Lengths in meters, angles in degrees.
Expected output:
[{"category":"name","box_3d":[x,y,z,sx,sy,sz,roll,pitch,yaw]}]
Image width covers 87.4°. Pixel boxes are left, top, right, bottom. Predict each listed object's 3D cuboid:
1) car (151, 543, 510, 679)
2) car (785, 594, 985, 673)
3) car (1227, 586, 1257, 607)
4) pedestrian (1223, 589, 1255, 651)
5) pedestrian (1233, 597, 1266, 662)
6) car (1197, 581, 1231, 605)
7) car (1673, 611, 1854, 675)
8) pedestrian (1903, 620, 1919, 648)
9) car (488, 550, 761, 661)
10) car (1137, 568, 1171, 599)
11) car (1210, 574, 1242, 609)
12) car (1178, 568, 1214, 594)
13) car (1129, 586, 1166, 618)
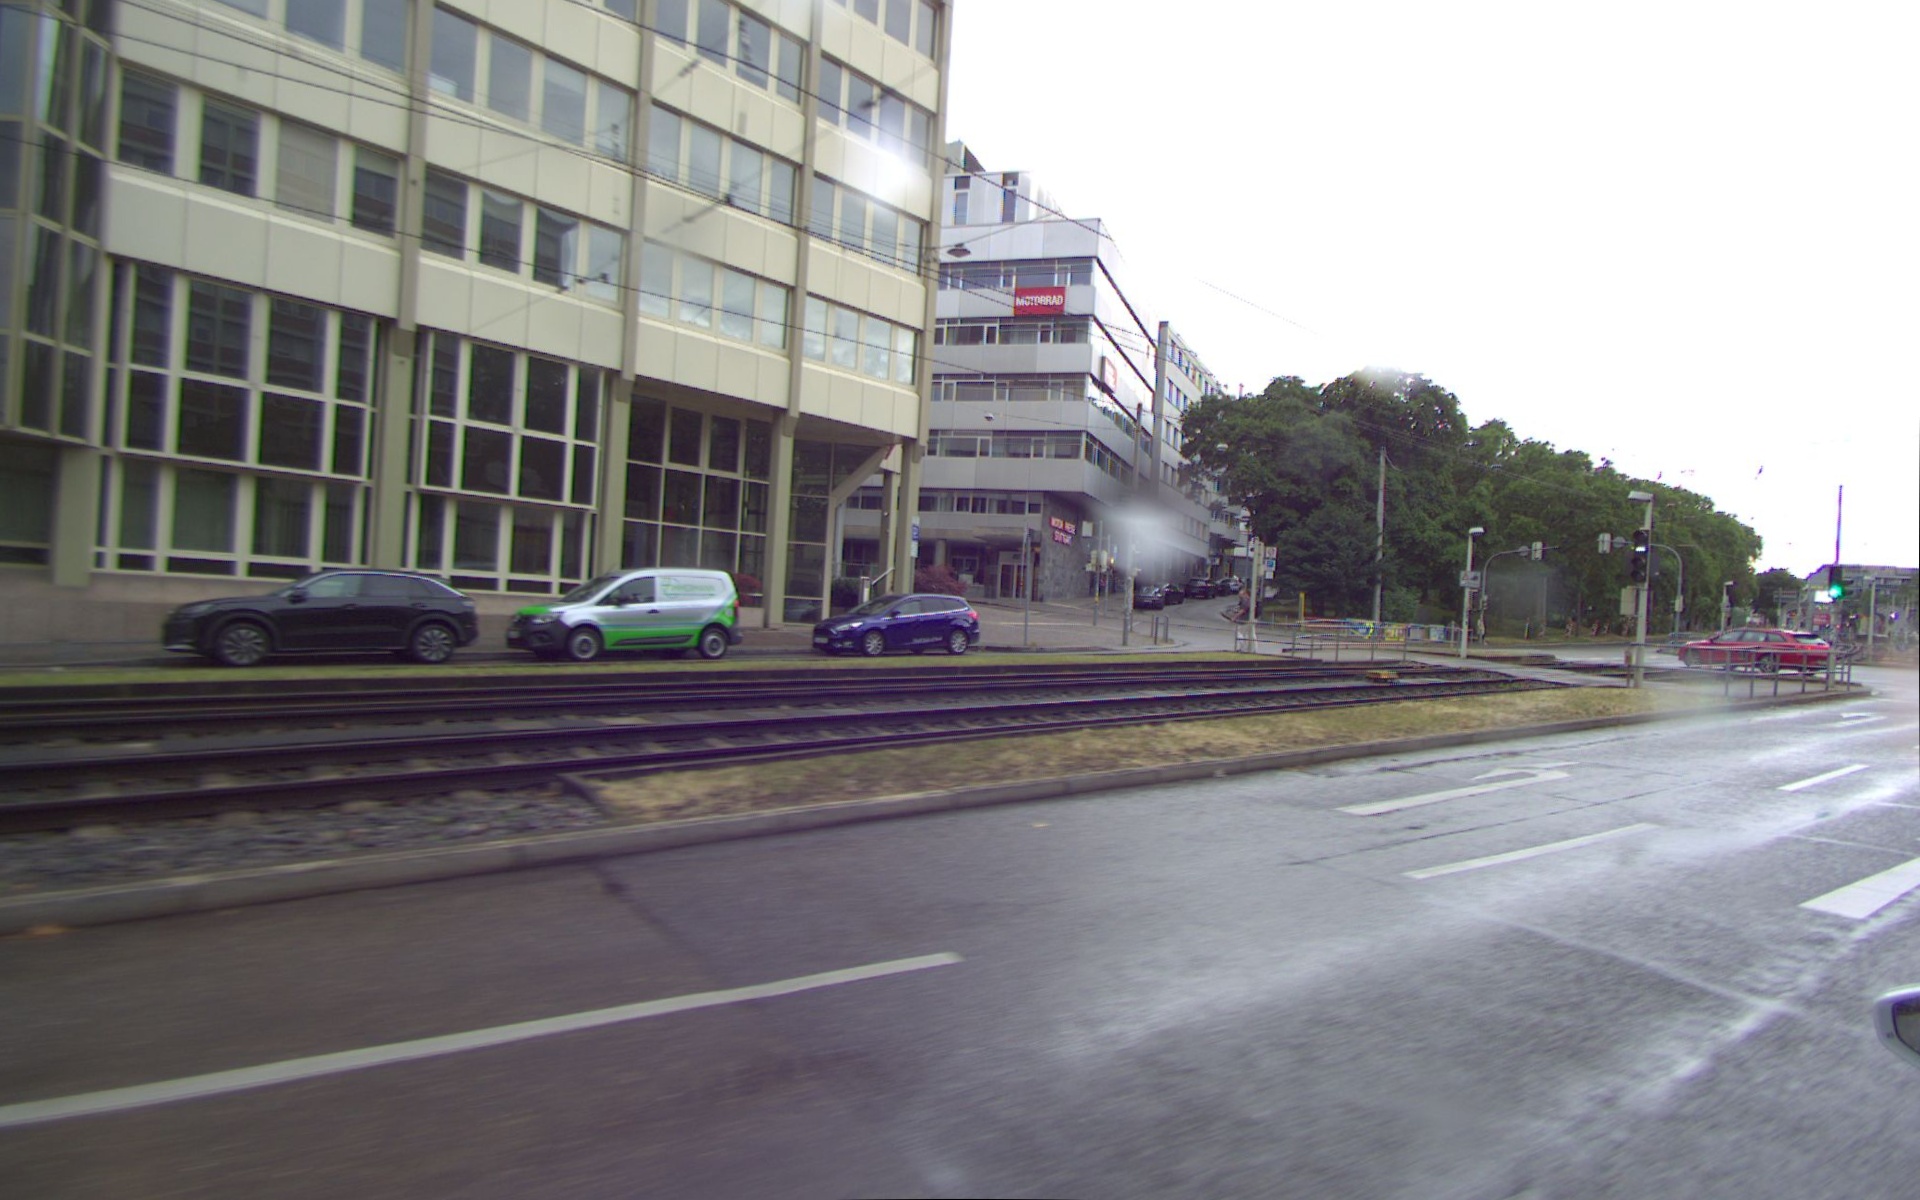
[{"category":"car","box_3d":[-10.228,0.206,16.579,4.664,1.874,1.974,3,2,-44]},{"category":"car","box_3d":[-1.726,0.803,24.215,4.520,1.603,1.974,3,2,-44]},{"category":"car","box_3d":[27.335,-0.309,97.264,1.962,1.817,4.206,5,1,25]},{"category":"pedestrian","box_3d":[8.531,0.614,30.740,0.629,1.811,0.809,5,2,30]},{"category":"pedestrian","box_3d":[8.445,0.850,29.269,0.629,1.811,0.809,5,2,30]},{"category":"car","box_3d":[22.105,-0.607,87.404,1.962,1.817,4.206,5,1,25]},{"category":"car","box_3d":[26.488,1.376,33.351,1.952,1.662,4.407,4,1,-10]},{"category":"pedestrian","box_3d":[60.903,2.175,64.128,0.861,1.662,0.734,3,2,-32]},{"category":"car","box_3d":[-6.514,0.144,19.875,4.664,1.874,1.974,3,2,-44]},{"category":"car","box_3d":[13.317,-1.161,68.857,1.960,1.818,4.001,4,5,13]},{"category":"car","box_3d":[24.469,-0.770,92.330,1.962,3.037,4.206,5,2,25]},{"category":"car","box_3d":[18.777,-1.480,79.807,1.962,1.817,4.207,5,1,24]},{"category":"car","box_3d":[11.950,0.131,63.811,1.960,1.817,4.002,4,1,13]}]
